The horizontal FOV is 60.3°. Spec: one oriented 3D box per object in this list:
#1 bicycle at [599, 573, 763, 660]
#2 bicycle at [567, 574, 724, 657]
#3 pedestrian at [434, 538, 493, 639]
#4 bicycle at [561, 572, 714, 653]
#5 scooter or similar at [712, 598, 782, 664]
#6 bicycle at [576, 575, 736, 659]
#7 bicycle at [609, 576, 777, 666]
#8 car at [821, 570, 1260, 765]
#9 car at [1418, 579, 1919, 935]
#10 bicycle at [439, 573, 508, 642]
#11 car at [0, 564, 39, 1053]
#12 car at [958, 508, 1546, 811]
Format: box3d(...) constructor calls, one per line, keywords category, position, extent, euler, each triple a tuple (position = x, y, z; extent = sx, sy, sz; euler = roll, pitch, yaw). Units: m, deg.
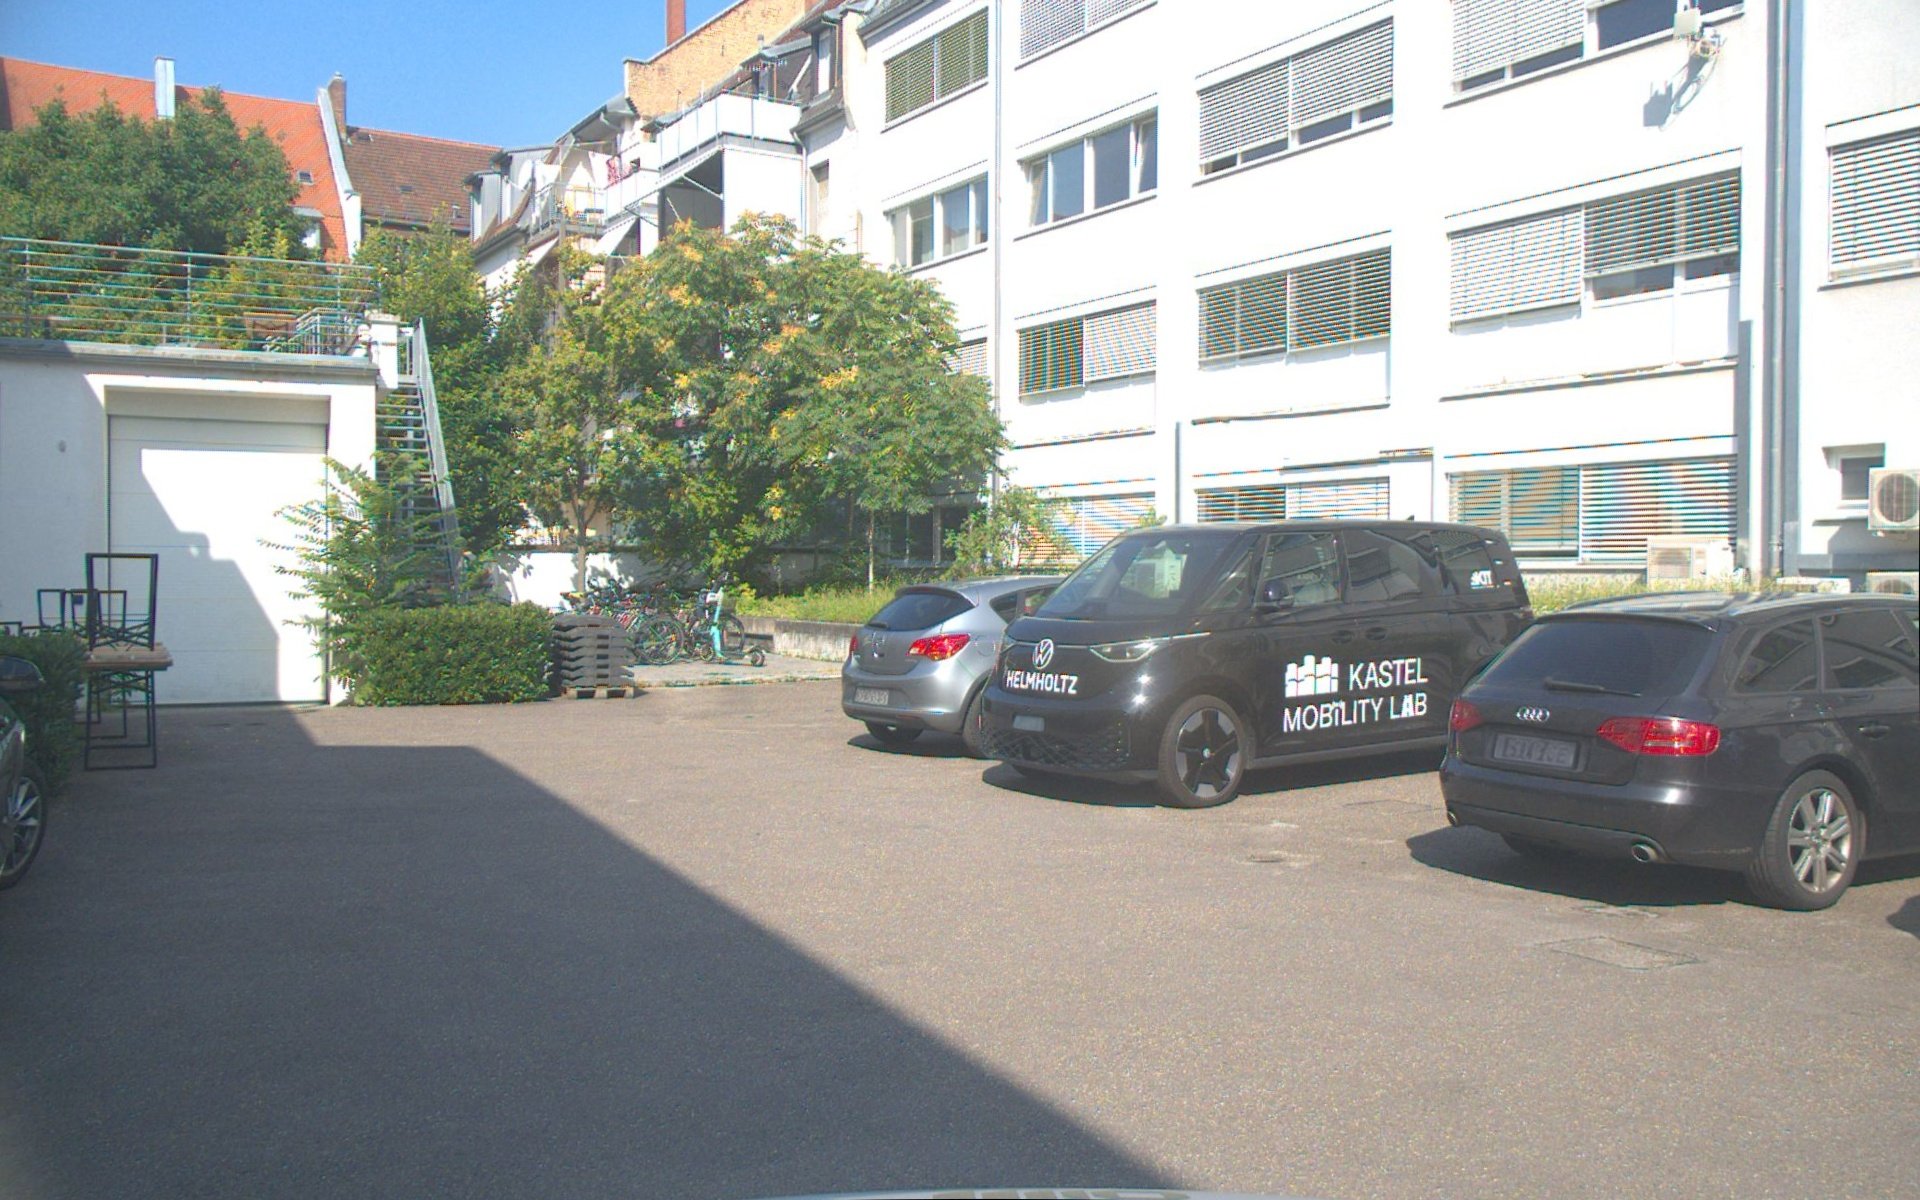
box3d(category="bicycle", position=(-4.188, 0.252, 24.918), extent=(2.381, 1.268, 0.522), euler=(1, 1, -26))
box3d(category="bicycle", position=(-4.972, 0.242, 26.197), extent=(2.381, 1.268, 0.522), euler=(1, 1, -26))
box3d(category="pedestrian", position=(-9.025, -0.215, 30.095), extent=(0.840, 1.802, 0.611), euler=(1, 1, 6))
box3d(category="bicycle", position=(-5.206, 0.205, 26.770), extent=(2.381, 1.268, 0.522), euler=(1, 1, -26))
box3d(category="scooter or similar", position=(-3.134, 0.446, 24.271), extent=(0.977, 0.940, 0.360), euler=(1, 1, 27))
box3d(category="bicycle", position=(-4.687, 0.260, 25.606), extent=(2.381, 1.268, 0.522), euler=(1, 1, -26))
box3d(category="bicycle", position=(-3.908, 0.309, 24.309), extent=(2.381, 1.268, 0.522), euler=(1, 1, -26))
box3d(category="car", position=(0.796, 0.496, 14.850), extent=(3.871, 1.491, 1.640), euler=(-1, 2, -39))
box3d(category="car", position=(4.577, 0.643, 8.727), extent=(4.183, 1.462, 1.675), euler=(-1, 2, -28))
box3d(category="bicycle", position=(-8.857, 0.115, 30.189), extent=(0.478, 1.163, 1.995), euler=(0, 2, 6))
box3d(category="car", position=(-4.299, 0.594, 5.777), extent=(1.772, 1.453, 4.098), euler=(1, 1, -28))
box3d(category="car", position=(2.266, 0.319, 12.353), extent=(4.300, 1.891, 1.891), euler=(-1, 2, -36))
